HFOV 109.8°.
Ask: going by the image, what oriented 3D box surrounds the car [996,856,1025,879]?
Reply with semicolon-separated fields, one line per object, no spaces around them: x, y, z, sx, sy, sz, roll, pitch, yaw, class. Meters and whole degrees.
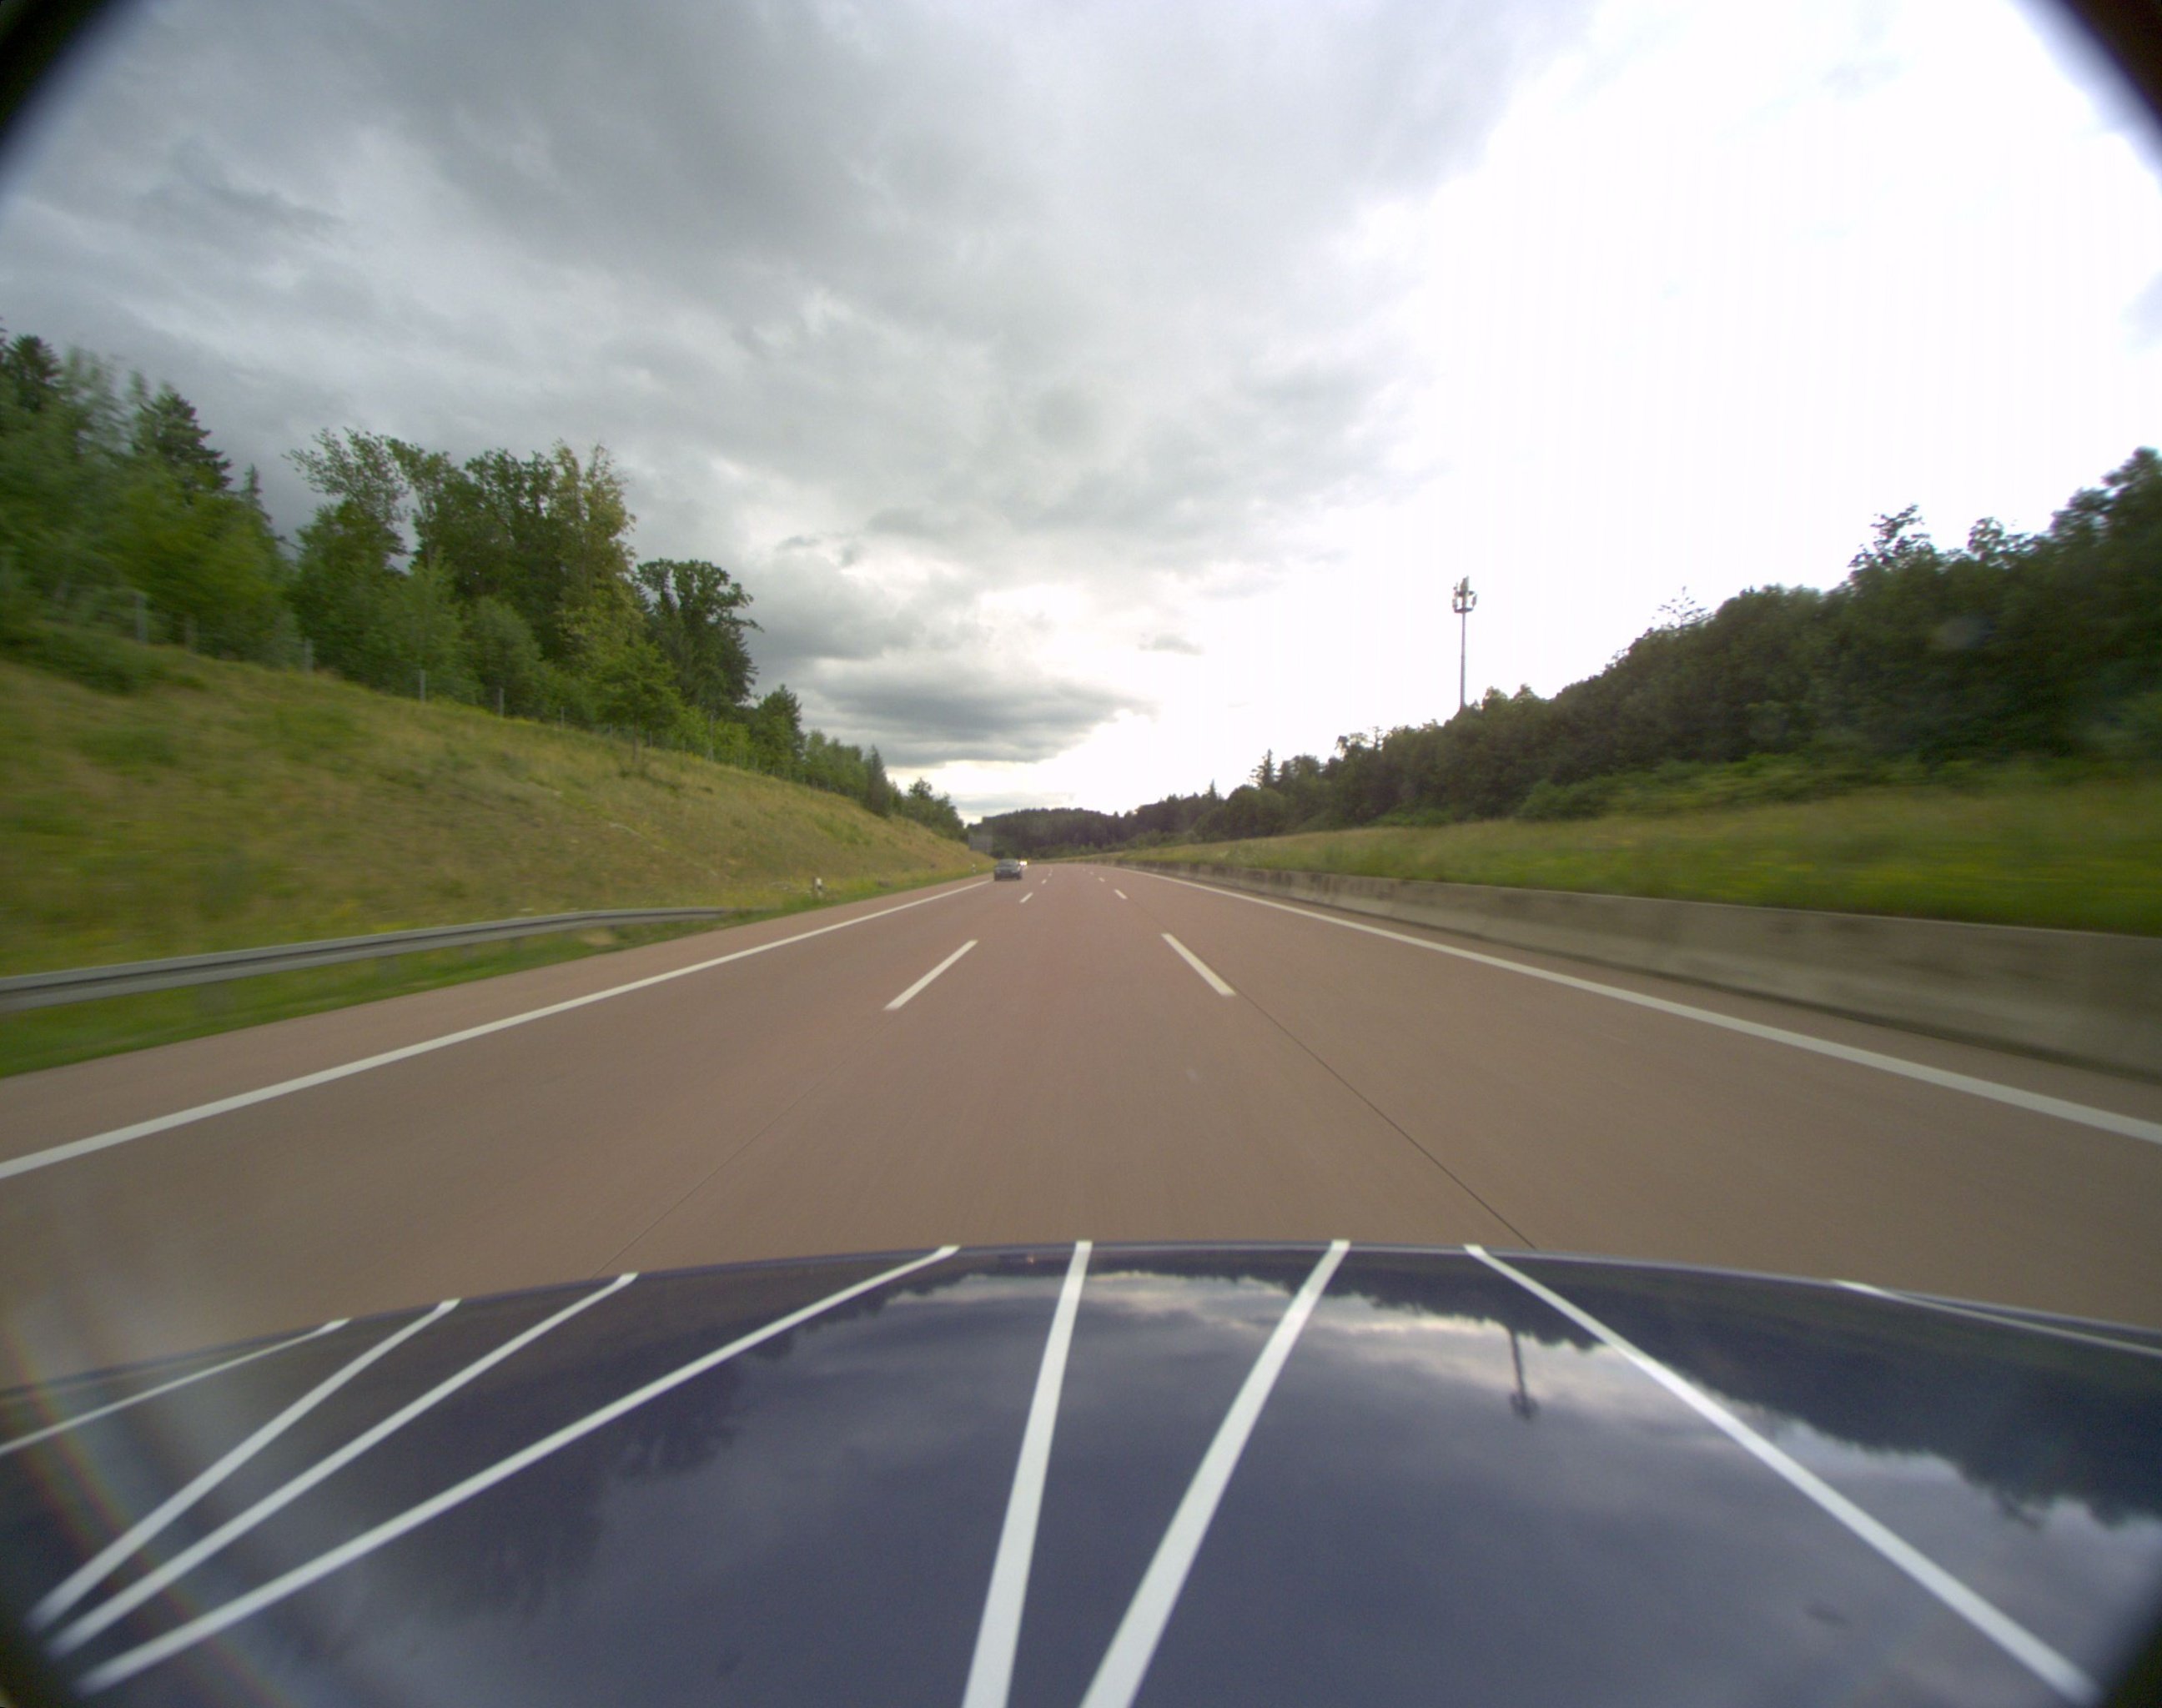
-4.838;0.889;52.505;1.676;1.395;4.232;-1;1;-1;car
